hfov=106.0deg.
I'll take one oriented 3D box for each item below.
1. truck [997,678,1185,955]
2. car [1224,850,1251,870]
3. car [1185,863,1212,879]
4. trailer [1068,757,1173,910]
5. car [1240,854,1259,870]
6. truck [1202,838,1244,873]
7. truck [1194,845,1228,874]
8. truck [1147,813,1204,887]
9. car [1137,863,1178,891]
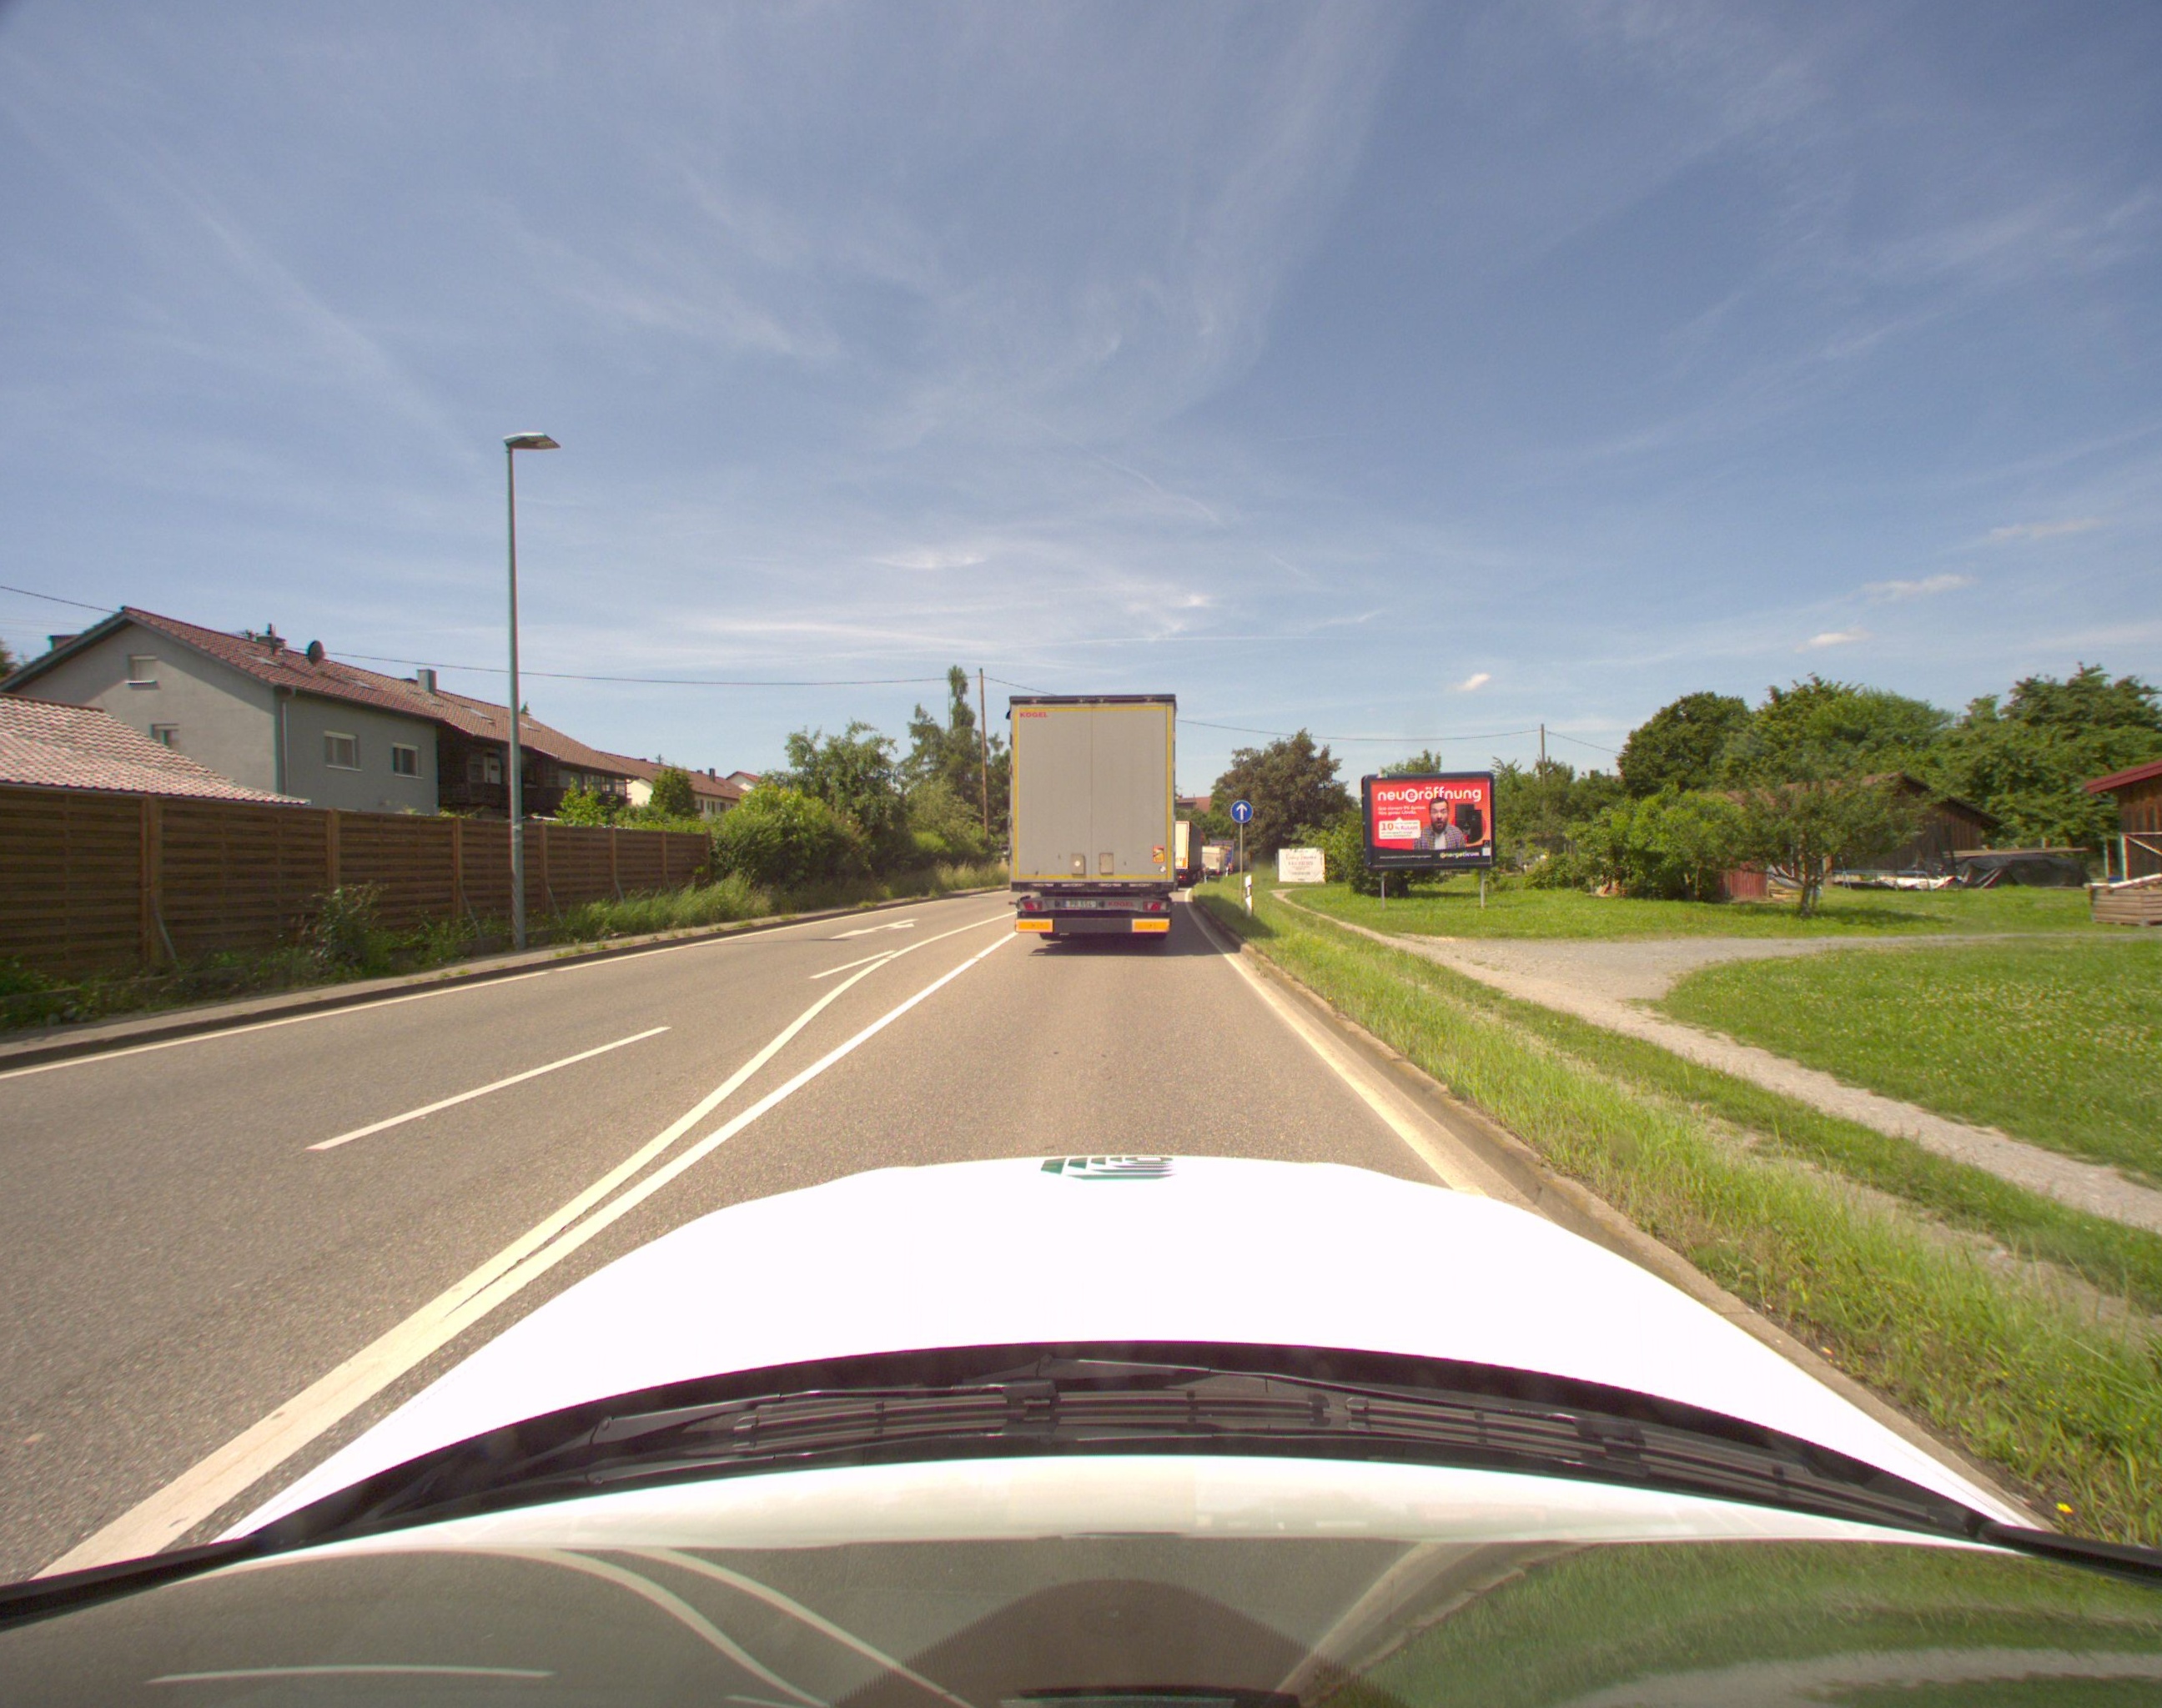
[{"bbox_3d":[0.661,-0.569,17.948,2.808,4.127,11.460,0,0,5],"label":"truck"},{"bbox_3d":[18.912,0.722,98.234,2.512,2.277,6.409,0,0,17],"label":"car"},{"bbox_3d":[10.354,1.453,71.449,1.980,1.376,4.014,0,-1,13],"label":"car"},{"bbox_3d":[1.368,-0.560,25.459,2.812,4.111,6.554,-1,0,5],"label":"trailer"},{"bbox_3d":[22.178,1.034,107.177,1.978,2.014,4.017,-1,-1,17],"label":"car"},{"bbox_3d":[15.673,0.153,89.339,3.406,3.604,9.395,0,0,17],"label":"truck"},{"bbox_3d":[12.712,0.564,79.443,2.524,2.803,6.057,0,-1,16],"label":"truck"},{"bbox_3d":[6.712,-0.112,55.396,2.743,4.289,16.462,0,-1,11],"label":"truck"},{"bbox_3d":[3.959,1.144,41.719,1.808,1.346,3.857,0,-1,9],"label":"car"}]
